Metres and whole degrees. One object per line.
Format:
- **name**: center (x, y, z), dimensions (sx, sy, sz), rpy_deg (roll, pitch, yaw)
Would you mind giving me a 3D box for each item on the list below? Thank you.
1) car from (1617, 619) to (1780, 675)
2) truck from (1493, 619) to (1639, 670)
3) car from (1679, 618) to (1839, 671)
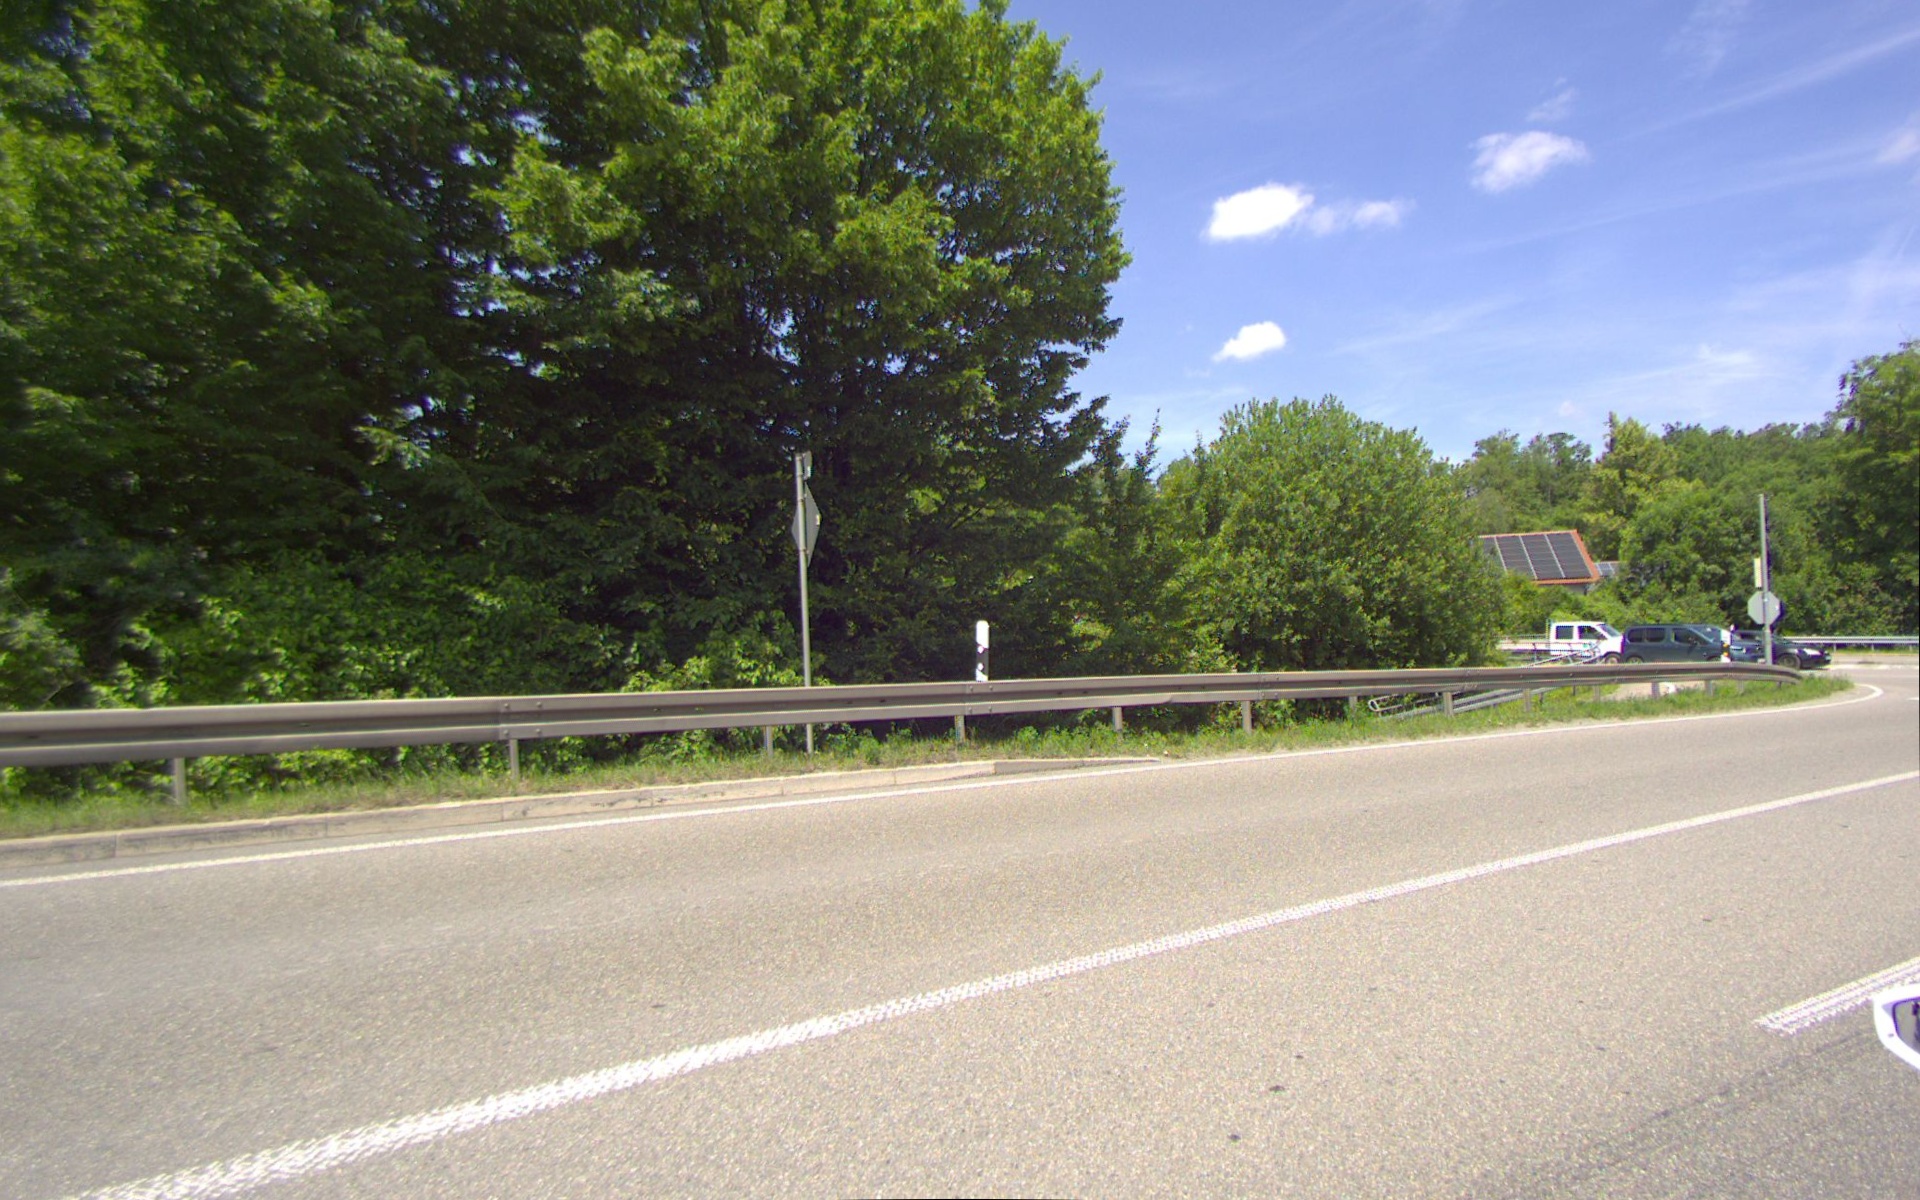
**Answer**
- **car**: center (25.615, 1.584, 35.034), dimensions (1.969, 1.793, 4.229), rpy_deg (1, -1, -19)
- **truck**: center (25.294, 1.840, 42.069), dimensions (2.028, 1.815, 4.833), rpy_deg (3, -1, -41)
- **car**: center (29.232, 1.600, 36.927), dimensions (1.969, 1.793, 4.229), rpy_deg (1, -1, -19)
